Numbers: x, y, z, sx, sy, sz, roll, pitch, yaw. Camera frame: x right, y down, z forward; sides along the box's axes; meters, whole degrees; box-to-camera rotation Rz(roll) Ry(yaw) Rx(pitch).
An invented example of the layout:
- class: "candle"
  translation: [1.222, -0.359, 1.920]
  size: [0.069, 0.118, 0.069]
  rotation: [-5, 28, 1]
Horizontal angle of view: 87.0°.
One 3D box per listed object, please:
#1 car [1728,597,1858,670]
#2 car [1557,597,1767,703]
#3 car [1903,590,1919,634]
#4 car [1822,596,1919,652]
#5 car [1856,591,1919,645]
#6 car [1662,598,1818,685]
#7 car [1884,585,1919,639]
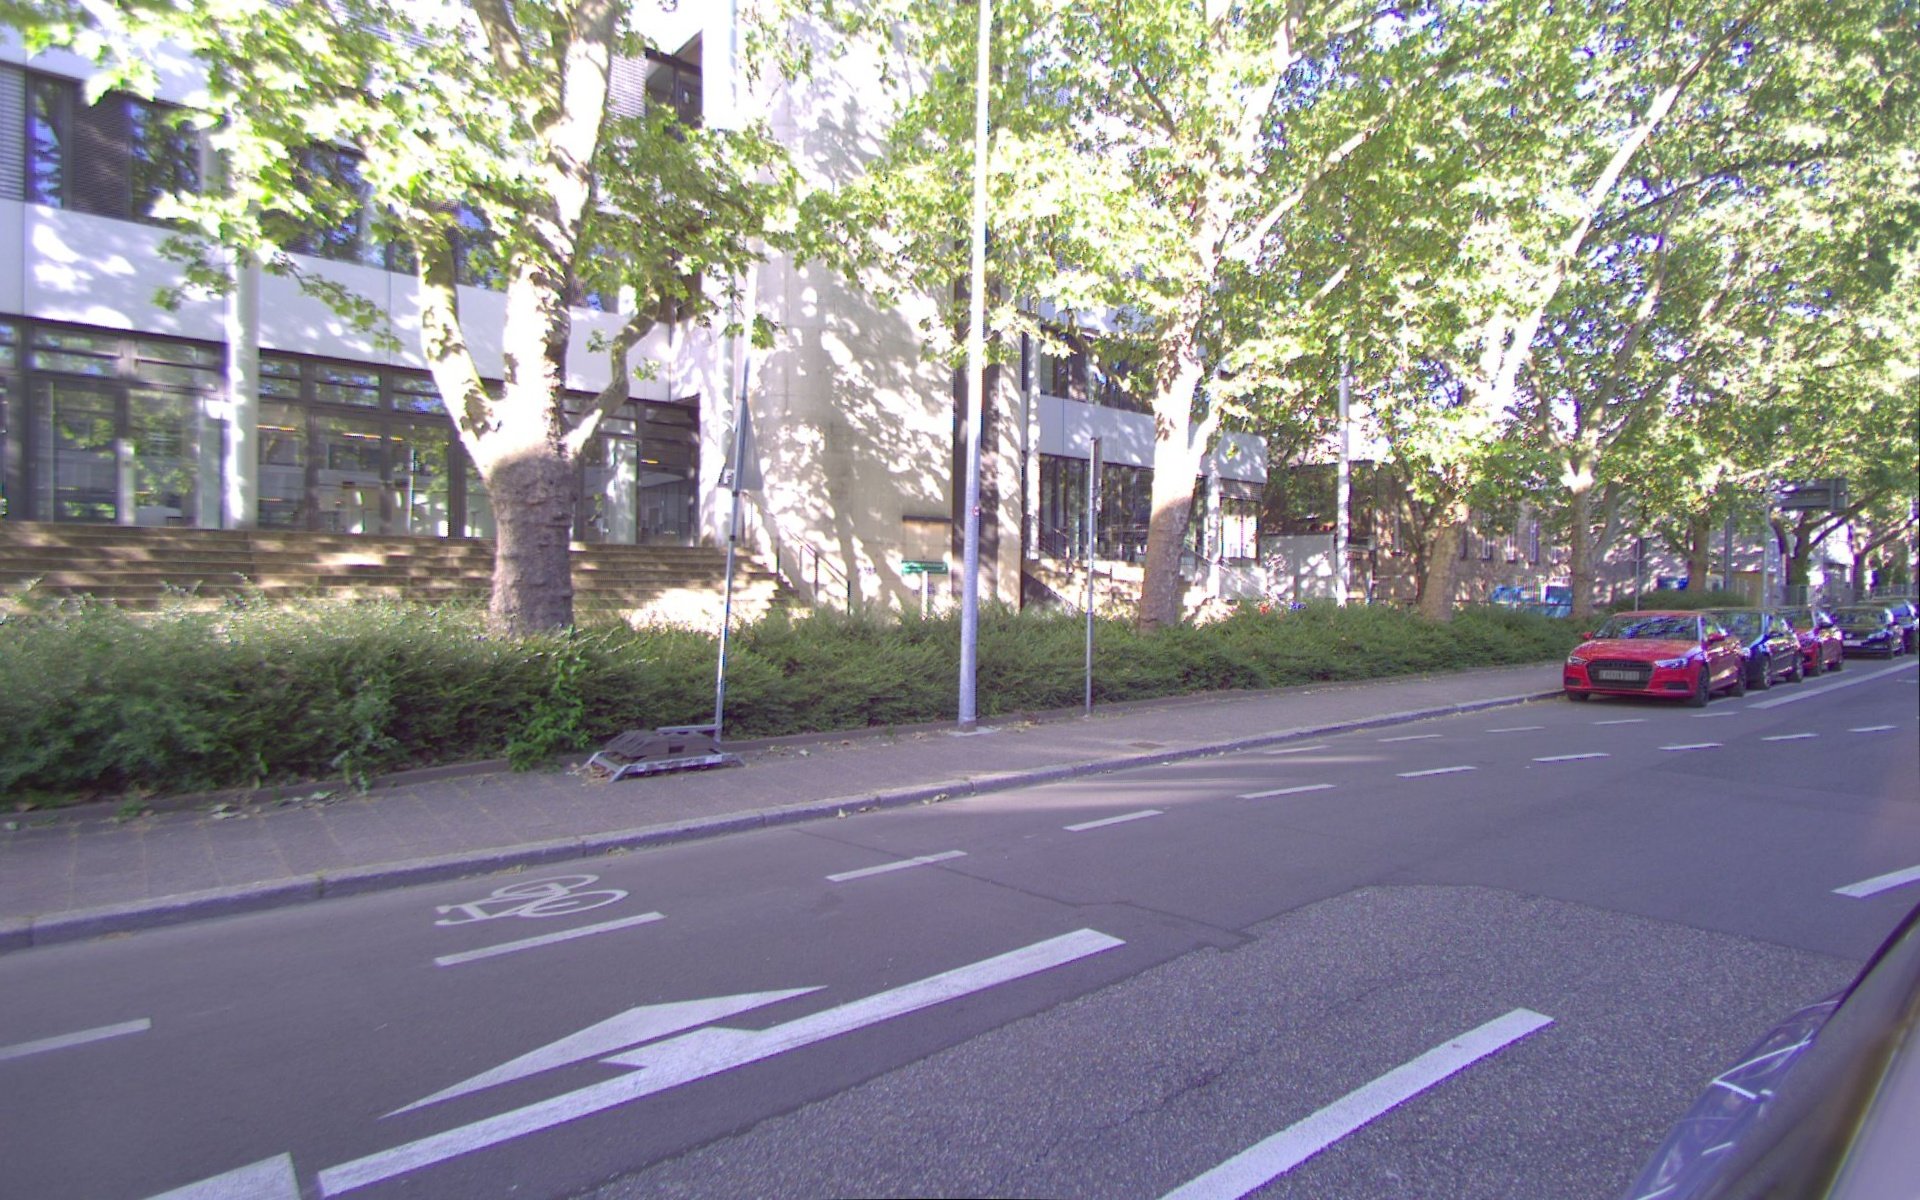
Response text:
- class: "car"
  translation: [18.575, 0.692, 22.516]
  size: [3.675, 1.483, 1.634]
  rotation: [0, -1, -41]
- class: "car"
  translation: [11.289, 0.705, 16.183]
  size: [4.053, 1.483, 1.802]
  rotation: [0, -1, -41]
- class: "car"
  translation: [38.677, 0.458, 40.009]
  size: [3.778, 1.675, 1.634]
  rotation: [0, -1, -41]
- class: "car"
  translation: [25.789, 0.650, 28.594]
  size: [3.675, 1.483, 1.634]
  rotation: [0, -1, -41]
- class: "car"
  translation: [29.526, 0.543, 31.728]
  size: [3.778, 1.607, 1.634]
  rotation: [0, -1, -41]
- class: "car"
  translation: [14.758, 0.718, 19.094]
  size: [3.675, 1.483, 1.634]
  rotation: [0, -1, -41]
- class: "car"
  translation: [33.812, 0.411, 35.509]
  size: [3.778, 1.828, 1.634]
  rotation: [0, -1, -41]
